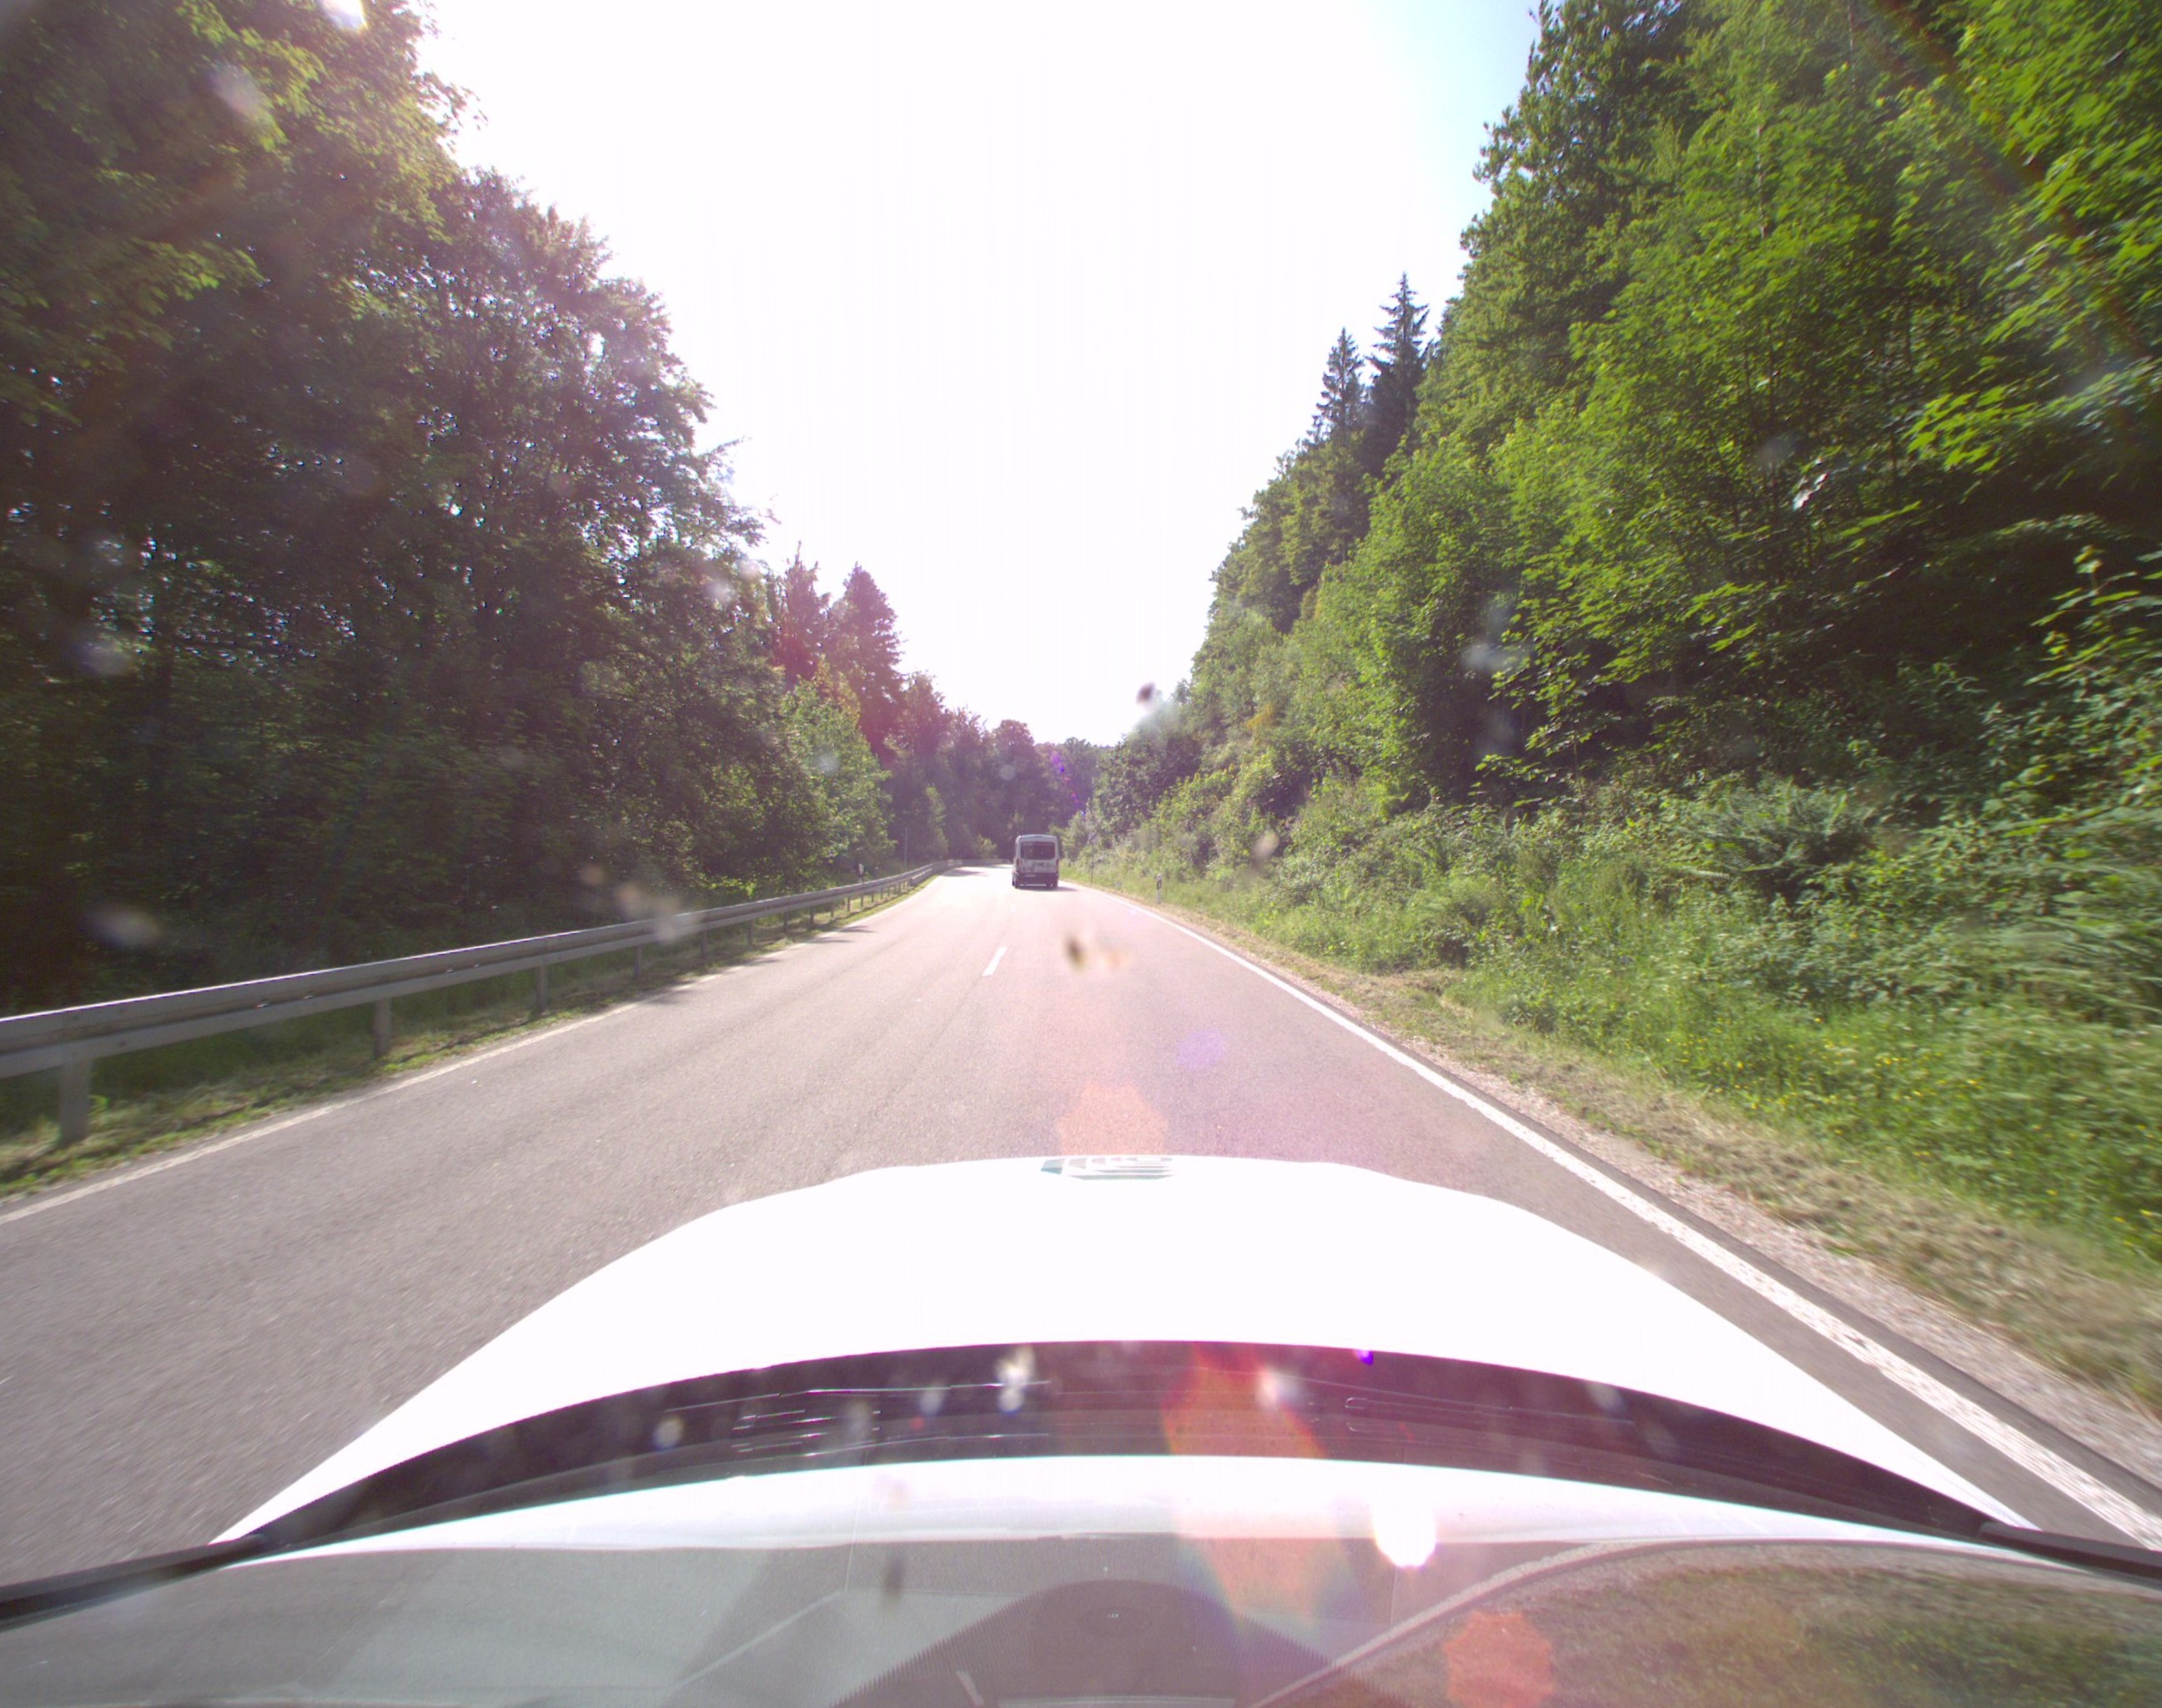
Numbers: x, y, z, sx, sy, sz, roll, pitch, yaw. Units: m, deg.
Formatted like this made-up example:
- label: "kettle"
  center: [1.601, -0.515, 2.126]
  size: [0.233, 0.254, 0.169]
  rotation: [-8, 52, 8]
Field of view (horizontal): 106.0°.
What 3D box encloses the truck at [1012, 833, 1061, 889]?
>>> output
- label: "truck"
  center: [-2.220, 0.294, 39.431]
  size: [2.113, 2.498, 5.349]
  rotation: [0, 0, -6]
